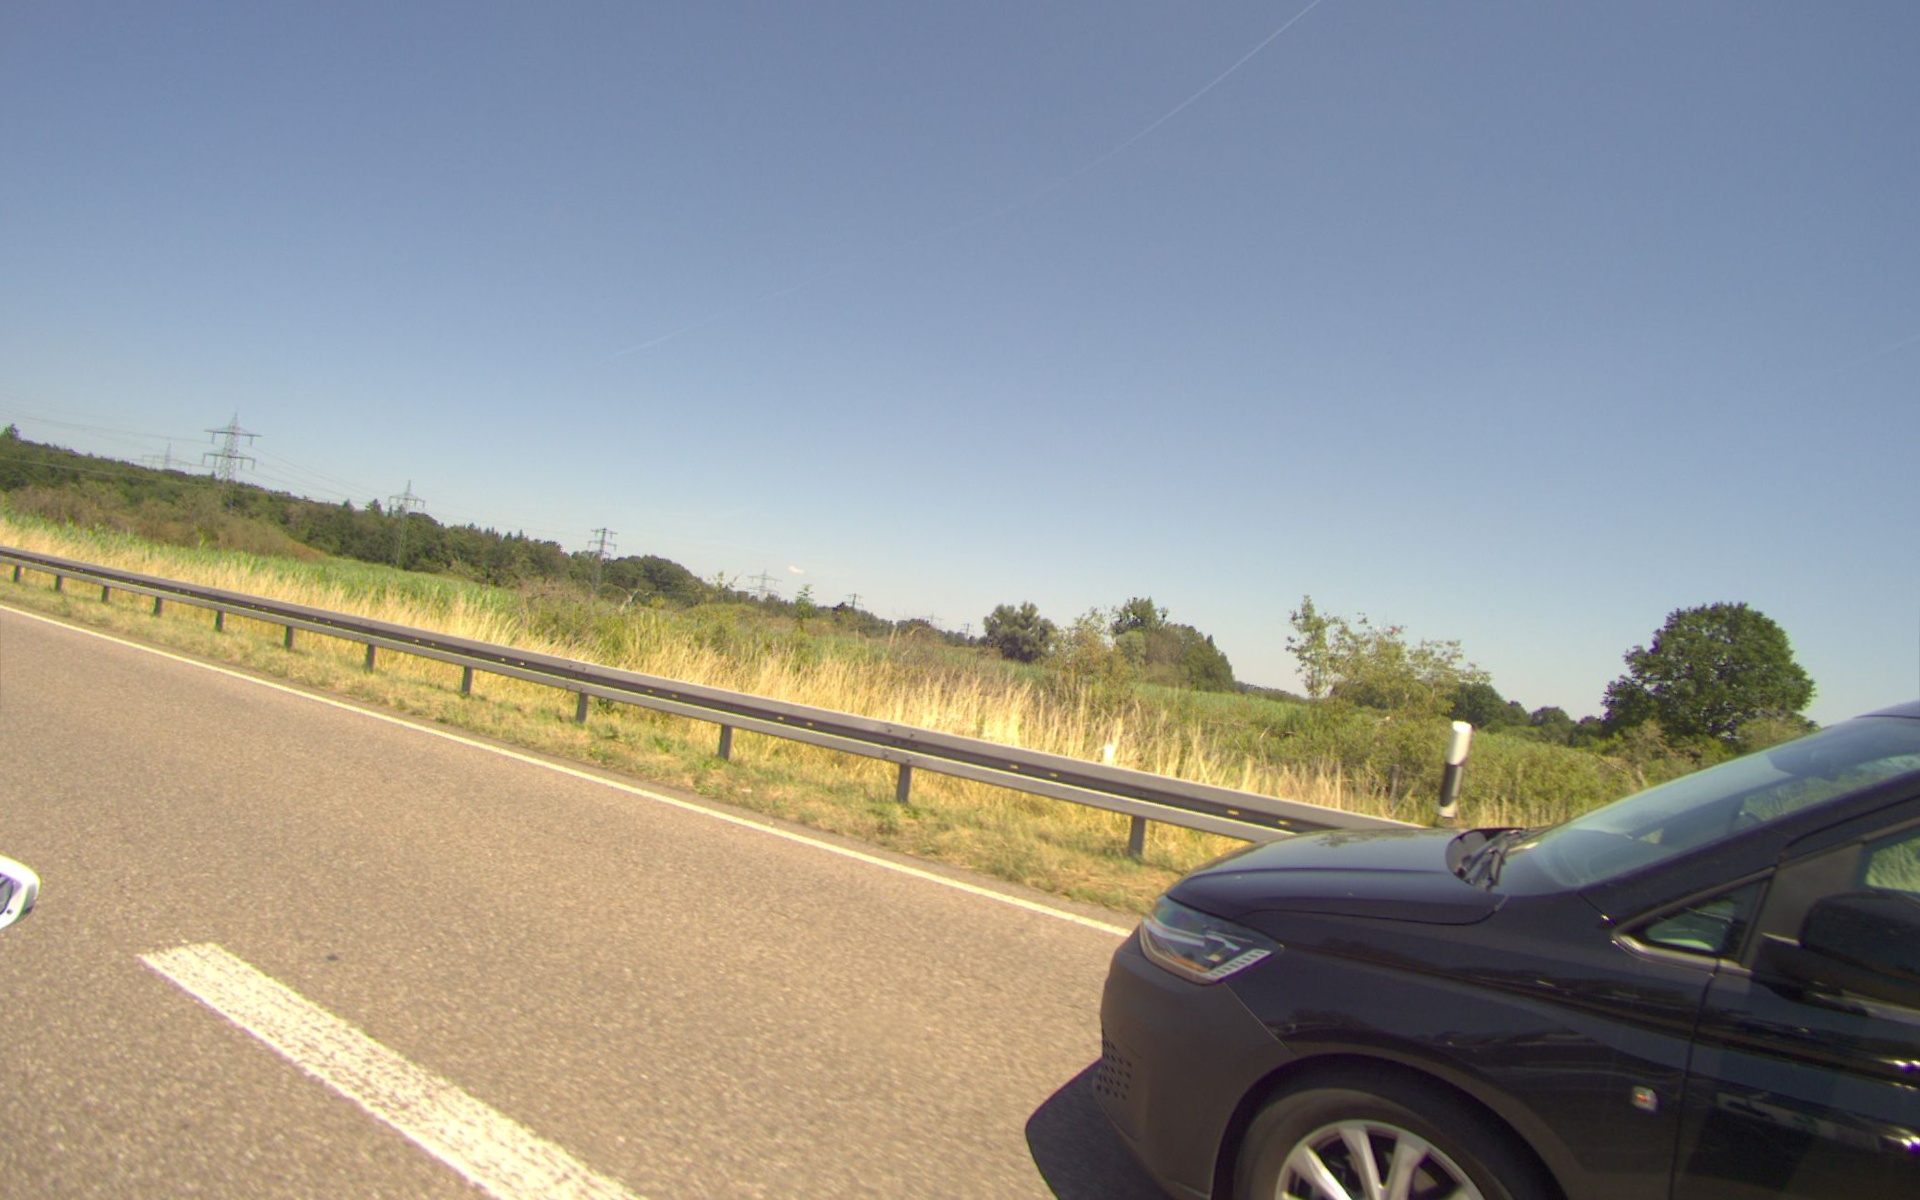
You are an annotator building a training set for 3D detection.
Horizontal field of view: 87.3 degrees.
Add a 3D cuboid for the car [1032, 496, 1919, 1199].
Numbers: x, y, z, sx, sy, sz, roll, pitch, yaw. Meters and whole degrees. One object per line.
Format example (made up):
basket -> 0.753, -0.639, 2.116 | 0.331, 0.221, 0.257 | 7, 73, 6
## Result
car -> 2.484, 0.942, 2.170 | 4.143, 1.837, 1.784 | 6, -2, 31
